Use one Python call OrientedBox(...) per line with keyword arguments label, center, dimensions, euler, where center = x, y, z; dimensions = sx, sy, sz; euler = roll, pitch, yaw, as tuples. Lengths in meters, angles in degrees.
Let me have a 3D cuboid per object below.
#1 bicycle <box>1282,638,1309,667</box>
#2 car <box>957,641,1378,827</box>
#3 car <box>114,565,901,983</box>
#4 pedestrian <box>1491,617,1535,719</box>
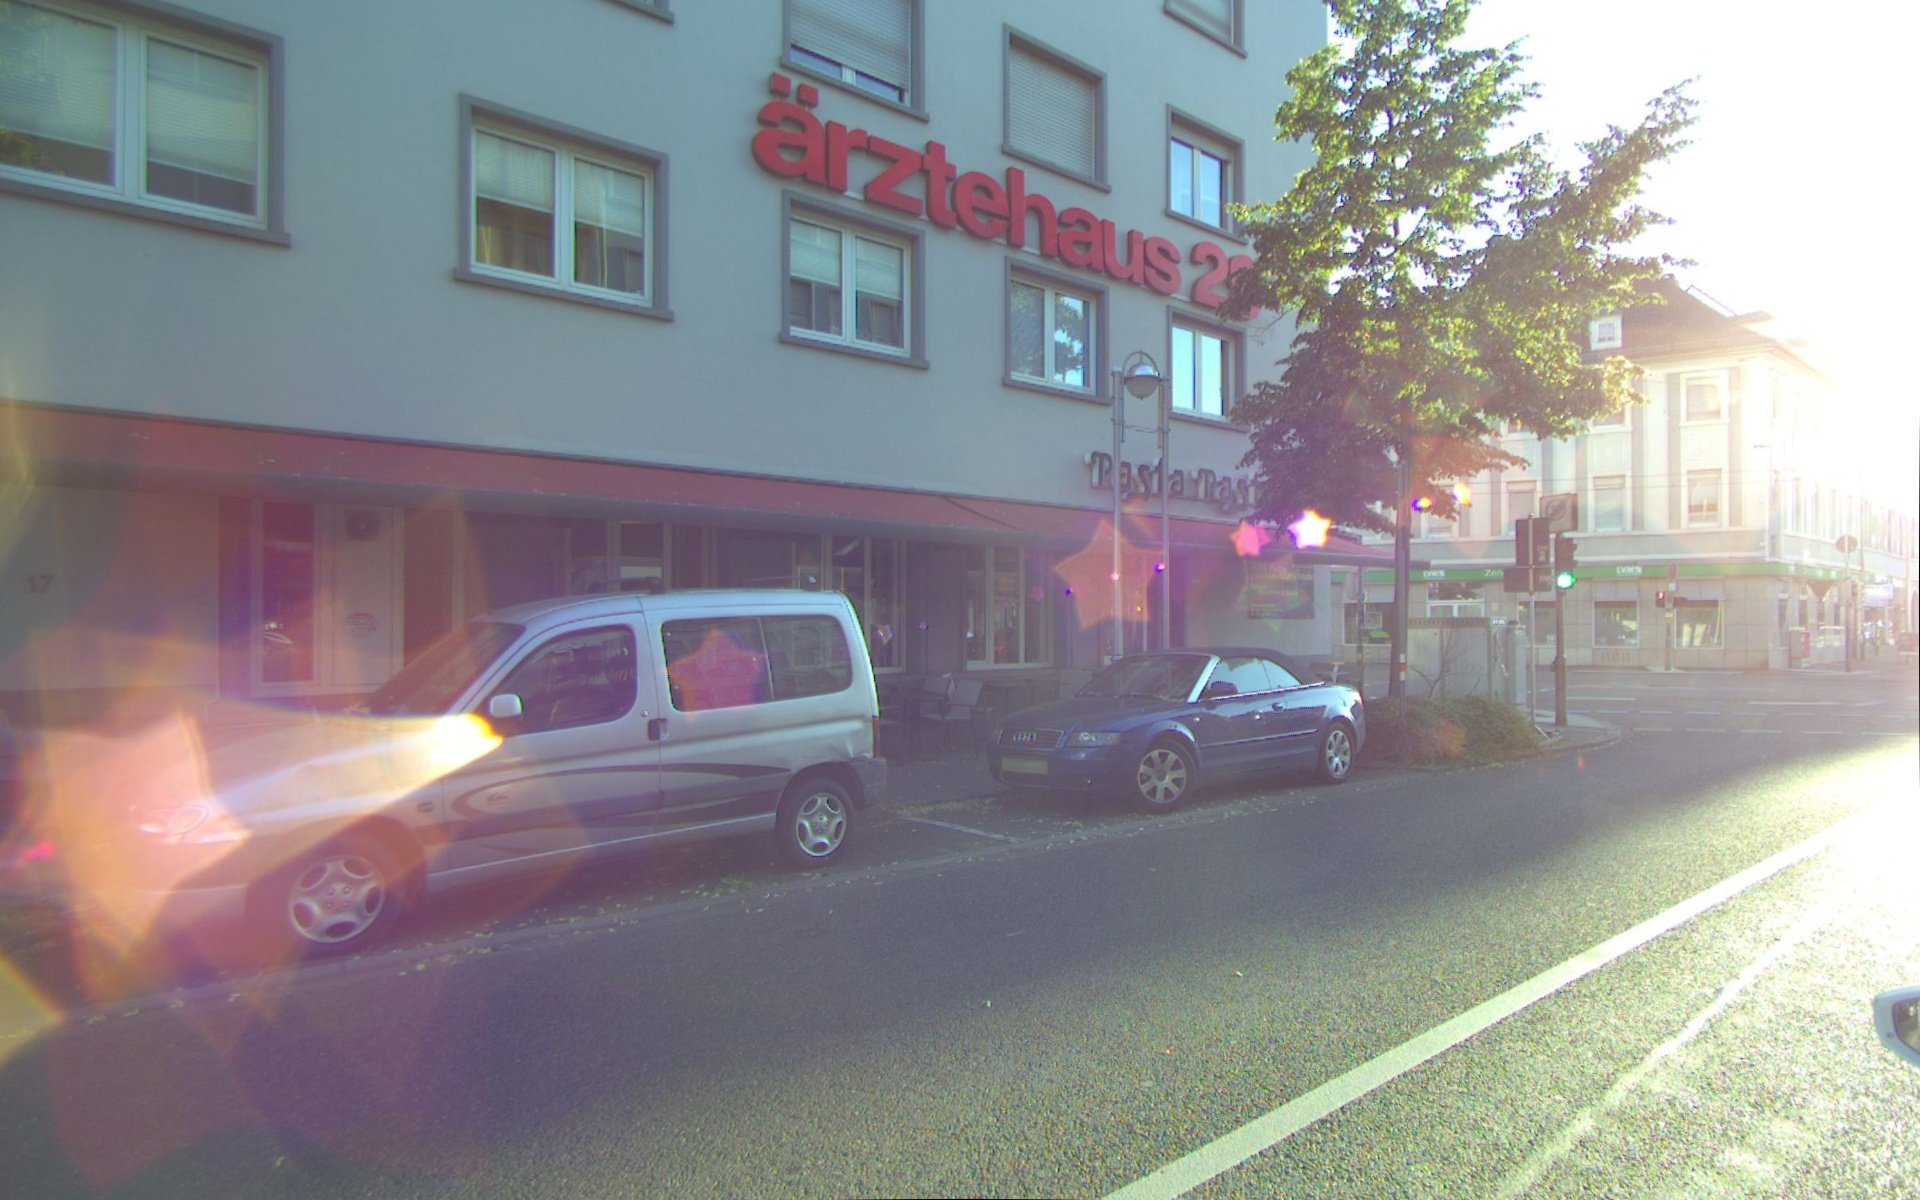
OrientedBox(label="bicycle", center=(13.075, 2.043, 39.161), dimensions=(0.490, 1.073, 1.736), euler=(0, -1, 36))
OrientedBox(label="car", center=(2.137, 1.104, 9.675), dimensions=(4.274, 1.371, 1.636), euler=(1, -2, -39))
OrientedBox(label="car", center=(-2.444, 0.741, 6.019), dimensions=(3.970, 1.686, 1.699), euler=(2, 0, -42))
OrientedBox(label="pedestrian", center=(9.340, 1.130, 16.987), dimensions=(0.575, 1.678, 0.799), euler=(0, -1, 25))
